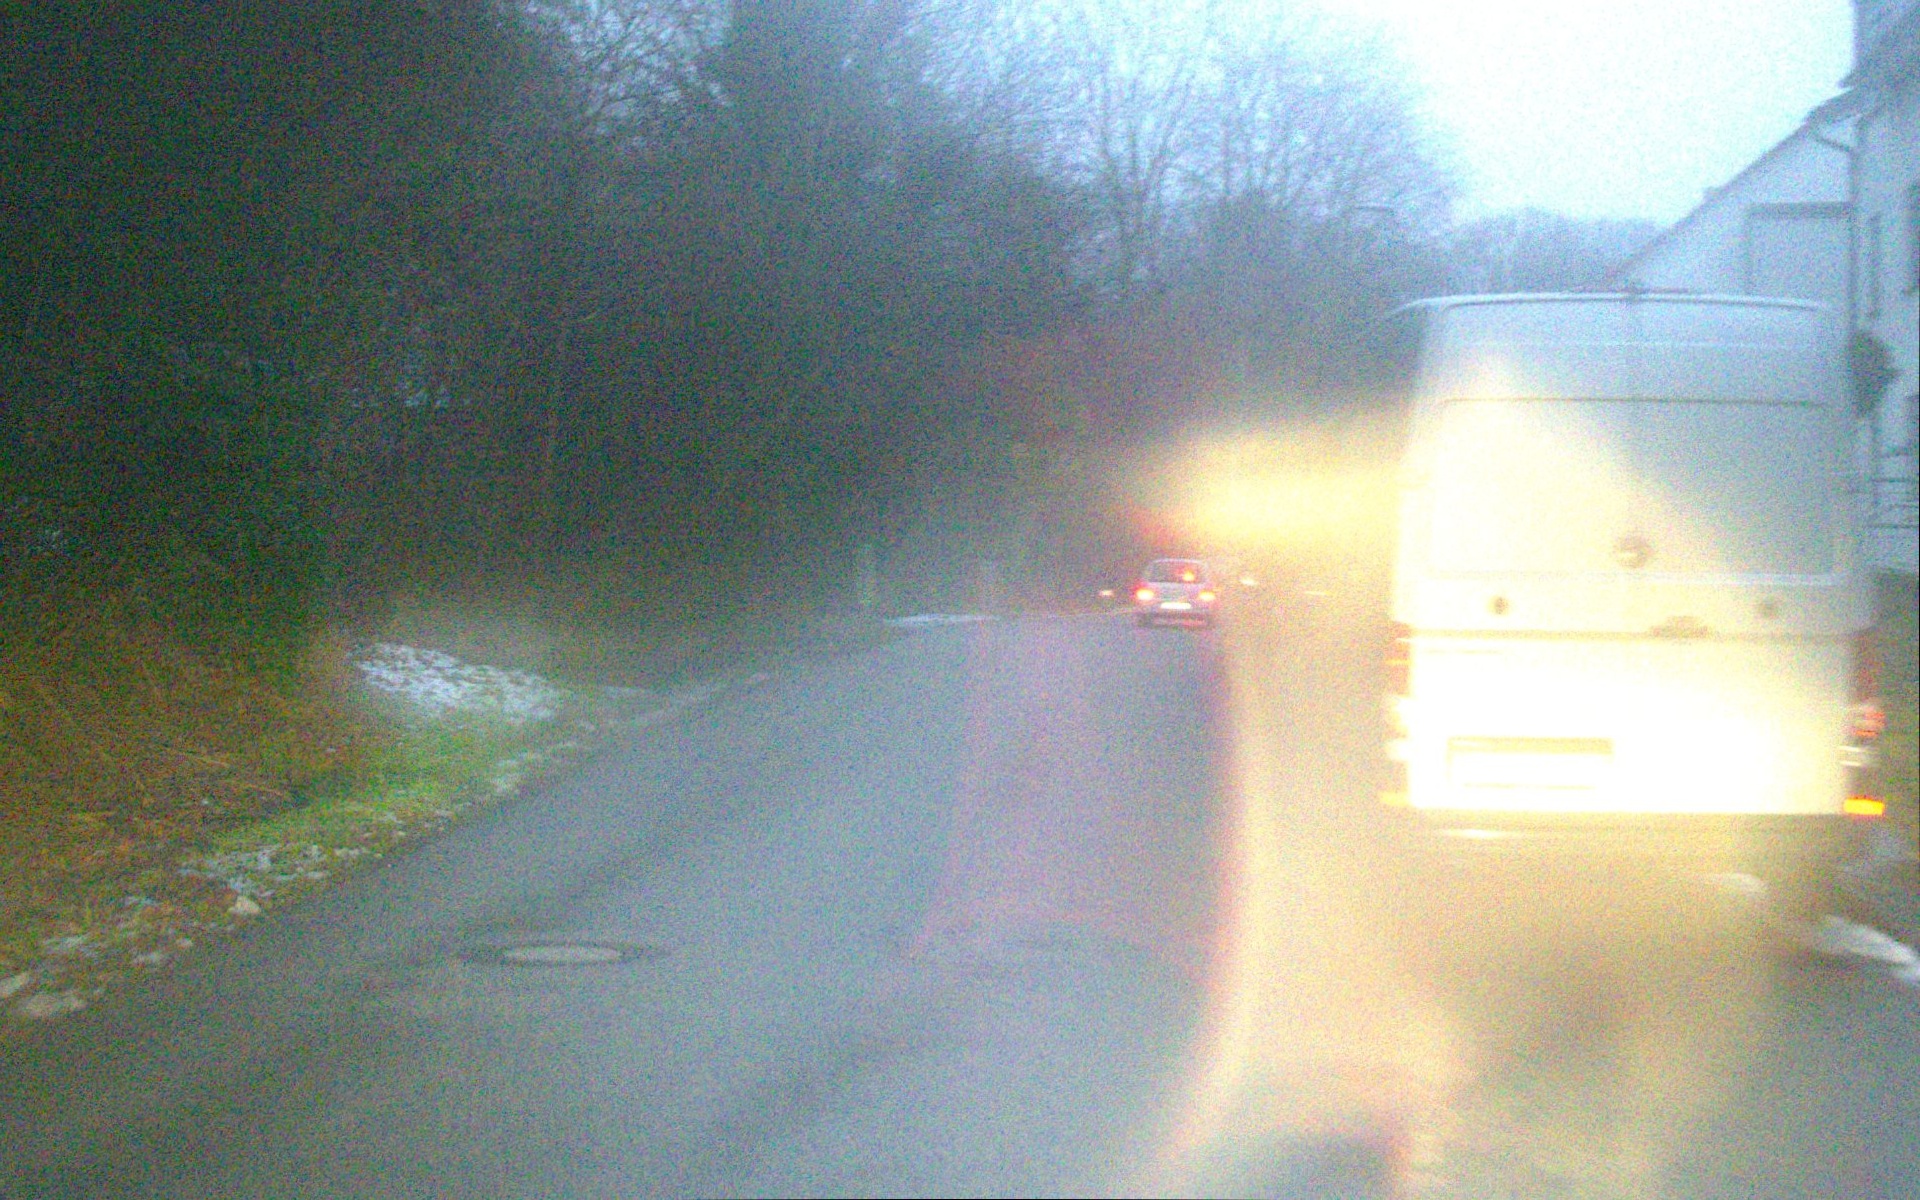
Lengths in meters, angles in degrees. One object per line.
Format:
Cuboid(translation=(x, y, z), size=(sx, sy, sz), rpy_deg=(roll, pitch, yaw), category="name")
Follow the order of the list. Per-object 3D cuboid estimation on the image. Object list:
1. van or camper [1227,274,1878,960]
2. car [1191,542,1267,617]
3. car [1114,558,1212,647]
Cuboid(translation=(2.441, 0.028, 16.056), size=(2.014, 2.499, 6.793), rpy_deg=(1, 1, 2), category="van or camper")
Cuboid(translation=(6.643, -0.506, 84.602), size=(1.690, 1.768, 3.859), rpy_deg=(1, 1, 7), category="car")
Cuboid(translation=(4.244, 0.028, 71.276), size=(1.933, 1.775, 3.999), rpy_deg=(1, 1, 4), category="car")
